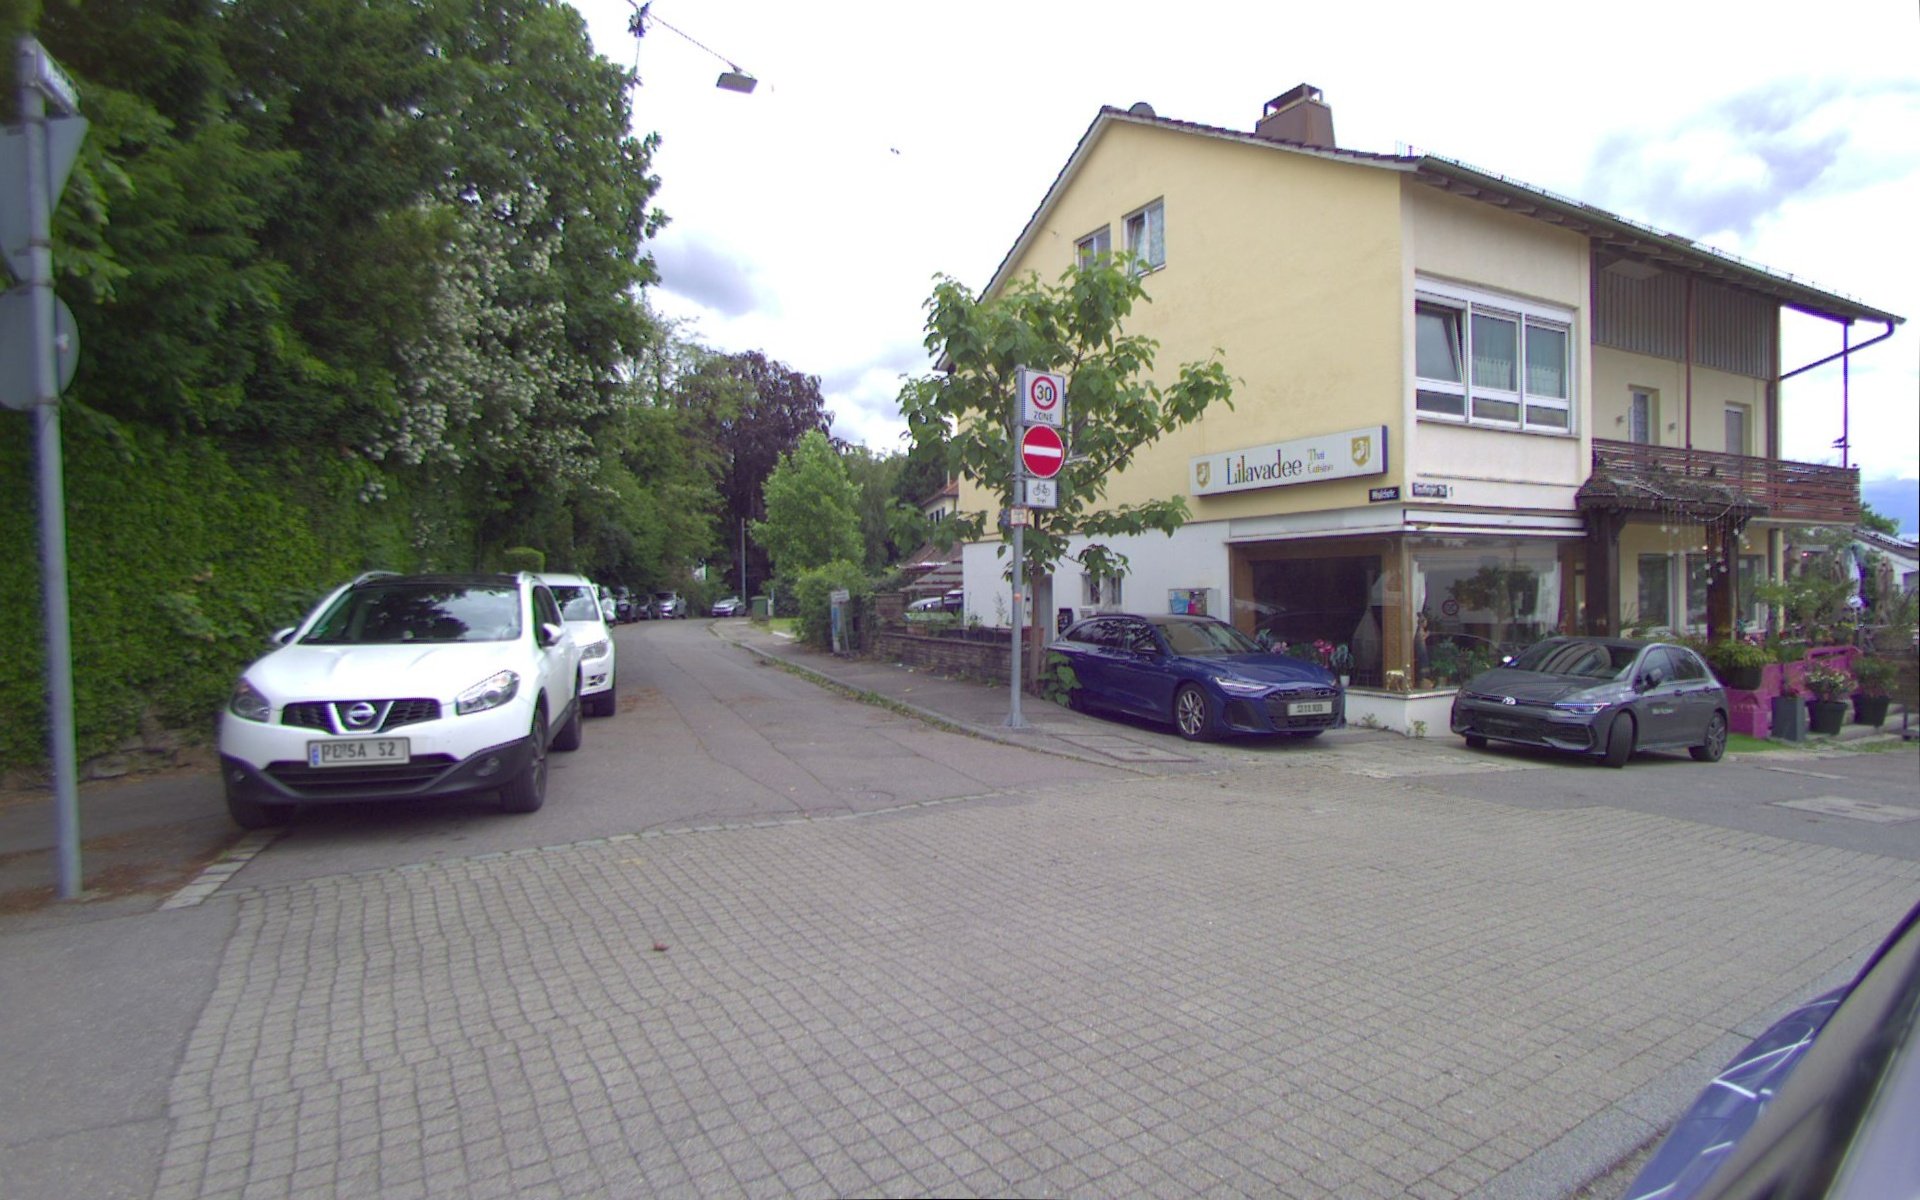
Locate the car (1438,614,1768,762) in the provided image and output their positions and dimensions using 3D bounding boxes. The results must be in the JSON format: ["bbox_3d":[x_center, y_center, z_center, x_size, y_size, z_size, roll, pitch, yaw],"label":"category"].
[{"bbox_3d":[7.937,1.067,12.381,4.242,1.480,1.800,5,-2,-34],"label":"car"}]

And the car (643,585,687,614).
[{"bbox_3d":[-16.246,-0.036,55.804,1.543,1.502,3.476,0,1,-3],"label":"car"}]

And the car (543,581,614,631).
[{"bbox_3d":[-12.223,0.142,32.602,1.542,1.502,3.745,-1,1,-11],"label":"car"}]

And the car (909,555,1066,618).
[{"bbox_3d":[0.808,-0.369,30.029,4.235,1.480,1.802,4,-2,-19],"label":"car"}]

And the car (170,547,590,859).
[{"bbox_3d":[-3.872,0.510,7.564,1.761,1.643,4.144,-1,1,-16],"label":"car"}]

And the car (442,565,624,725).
[{"bbox_3d":[-5.182,0.437,12.619,1.761,1.643,4.080,-1,1,-20],"label":"car"}]

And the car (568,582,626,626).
[{"bbox_3d":[-13.429,0.108,37.555,1.542,1.502,3.481,-1,1,-11],"label":"car"}]

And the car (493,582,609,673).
[{"bbox_3d":[-7.401,0.404,18.555,1.761,1.441,4.080,-1,1,-20],"label":"car"}]

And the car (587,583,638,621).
[{"bbox_3d":[-14.213,0.049,41.536,1.542,1.502,3.481,-1,1,-11],"label":"car"}]

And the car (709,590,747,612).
[{"bbox_3d":[-16.354,0.034,71.467,1.547,1.502,3.468,0,1,7],"label":"car"}]

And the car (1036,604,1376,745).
[{"bbox_3d":[2.909,0.830,13.221,1.761,1.405,4.758,2,0,-23],"label":"car"}]

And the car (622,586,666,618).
[{"bbox_3d":[-15.923,0.079,51.122,1.542,1.502,3.479,-1,1,-8],"label":"car"}]
